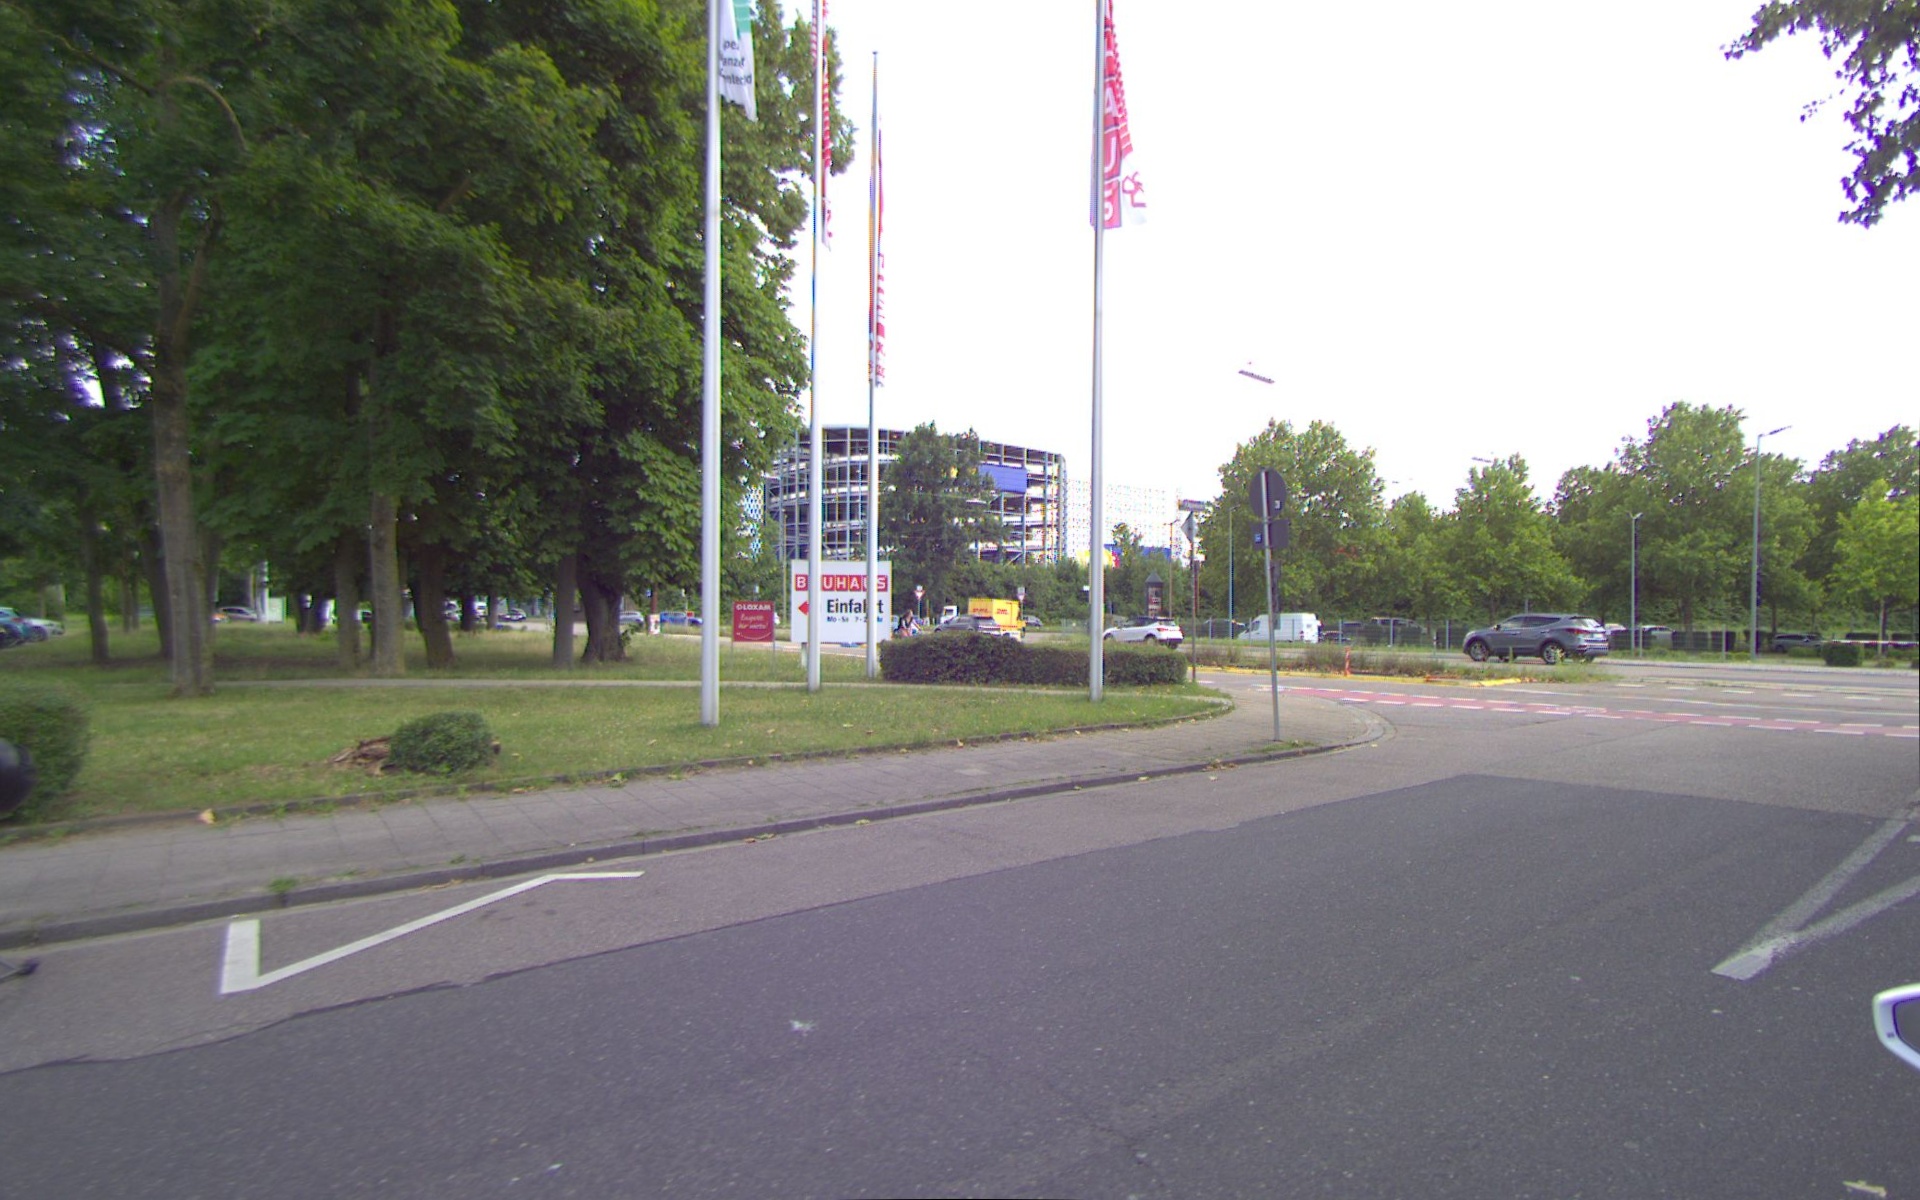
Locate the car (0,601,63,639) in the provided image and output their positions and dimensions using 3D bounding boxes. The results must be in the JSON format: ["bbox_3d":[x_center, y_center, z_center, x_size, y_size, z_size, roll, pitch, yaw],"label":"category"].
[{"bbox_3d":[-37.552,0.743,38.626,4.371,1.431,1.979,1,-1,-38],"label":"car"}]

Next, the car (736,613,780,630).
[{"bbox_3d":[-19.417,2.069,96.670,3.835,1.523,1.873,1,0,-5],"label":"car"}]

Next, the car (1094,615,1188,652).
[{"bbox_3d":[8.484,1.531,47.393,1.907,1.600,4.186,0,0,-39],"label":"car"}]

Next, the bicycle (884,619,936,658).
[{"bbox_3d":[-1.622,1.230,32.405,0.724,1.181,1.793,-1,-1,-41],"label":"bicycle"}]

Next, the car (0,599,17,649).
[{"bbox_3d":[-30.972,0.688,29.722,4.319,1.531,1.556,1,-1,-38],"label":"car"}]

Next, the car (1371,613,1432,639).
[{"bbox_3d":[38.032,2.221,86.661,4.483,2.164,1.859,1,0,-6],"label":"car"}]

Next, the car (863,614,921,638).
[{"bbox_3d":[-4.368,1.657,64.176,1.782,1.424,3.985,1,0,-39],"label":"car"}]

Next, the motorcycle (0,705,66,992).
[{"bbox_3d":[-4.746,1.044,3.938,1.786,1.153,0.617,1,-3,-37],"label":"motorcycle"}]

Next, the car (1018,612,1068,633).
[{"bbox_3d":[7.504,2.001,91.223,4.299,1.814,1.919,1,0,-5],"label":"car"}]

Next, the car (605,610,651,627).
[{"bbox_3d":[-31.899,1.773,96.649,3.835,1.523,1.873,1,0,-5],"label":"car"}]

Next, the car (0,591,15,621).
[{"bbox_3d":[-80.723,0.452,81.424,5.796,2.475,2.365,1,0,-4],"label":"car"}]

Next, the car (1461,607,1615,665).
[{"bbox_3d":[19.806,1.171,34.599,1.945,1.840,4.241,0,0,-30],"label":"car"}]

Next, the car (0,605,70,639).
[{"bbox_3d":[-41.141,0.920,43.012,4.371,1.431,1.979,1,-1,-38],"label":"car"}]

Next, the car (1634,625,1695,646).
[{"bbox_3d":[63.623,3.193,90.713,4.218,1.744,1.919,1,0,-5],"label":"car"}]

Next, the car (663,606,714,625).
[{"bbox_3d":[-23.442,1.337,86.694,3.924,1.532,1.919,1,0,-5],"label":"car"}]

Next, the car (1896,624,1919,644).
[{"bbox_3d":[88.316,3.139,91.614,4.218,1.744,1.919,1,0,-5],"label":"car"}]

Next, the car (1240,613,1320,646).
[{"bbox_3d":[22.259,2.030,70.049,1.783,2.240,5.241,1,-1,-40],"label":"car"}]

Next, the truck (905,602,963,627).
[{"bbox_3d":[-2.591,1.414,99.115,5.627,2.319,2.032,1,0,-5],"label":"truck"}]

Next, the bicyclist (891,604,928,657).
[{"bbox_3d":[-1.637,0.992,32.421,0.728,1.670,0.998,-1,0,-42],"label":"bicyclist"}]

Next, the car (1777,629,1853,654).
[{"bbox_3d":[61.893,2.985,72.794,1.873,1.724,3.997,1,0,-5],"label":"car"}]

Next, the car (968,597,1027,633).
[{"bbox_3d":[2.919,1.128,76.444,2.164,2.612,6.399,0,-1,25],"label":"car"}]

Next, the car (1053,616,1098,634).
[{"bbox_3d":[10.745,2.340,93.619,3.922,1.577,1.874,1,0,-2],"label":"car"}]

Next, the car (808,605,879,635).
[{"bbox_3d":[-9.846,1.688,85.055,5.796,2.475,2.210,1,0,-4],"label":"car"}]

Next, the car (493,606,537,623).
[{"bbox_3d":[-49.048,1.592,110.776,3.921,1.808,1.892,1,-1,-1],"label":"car"}]

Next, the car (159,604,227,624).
[{"bbox_3d":[-62.580,1.148,82.014,3.924,1.532,1.919,1,0,-5],"label":"car"}]

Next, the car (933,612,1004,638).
[{"bbox_3d":[0.436,1.414,57.733,1.907,1.424,4.186,1,0,-39],"label":"car"}]
